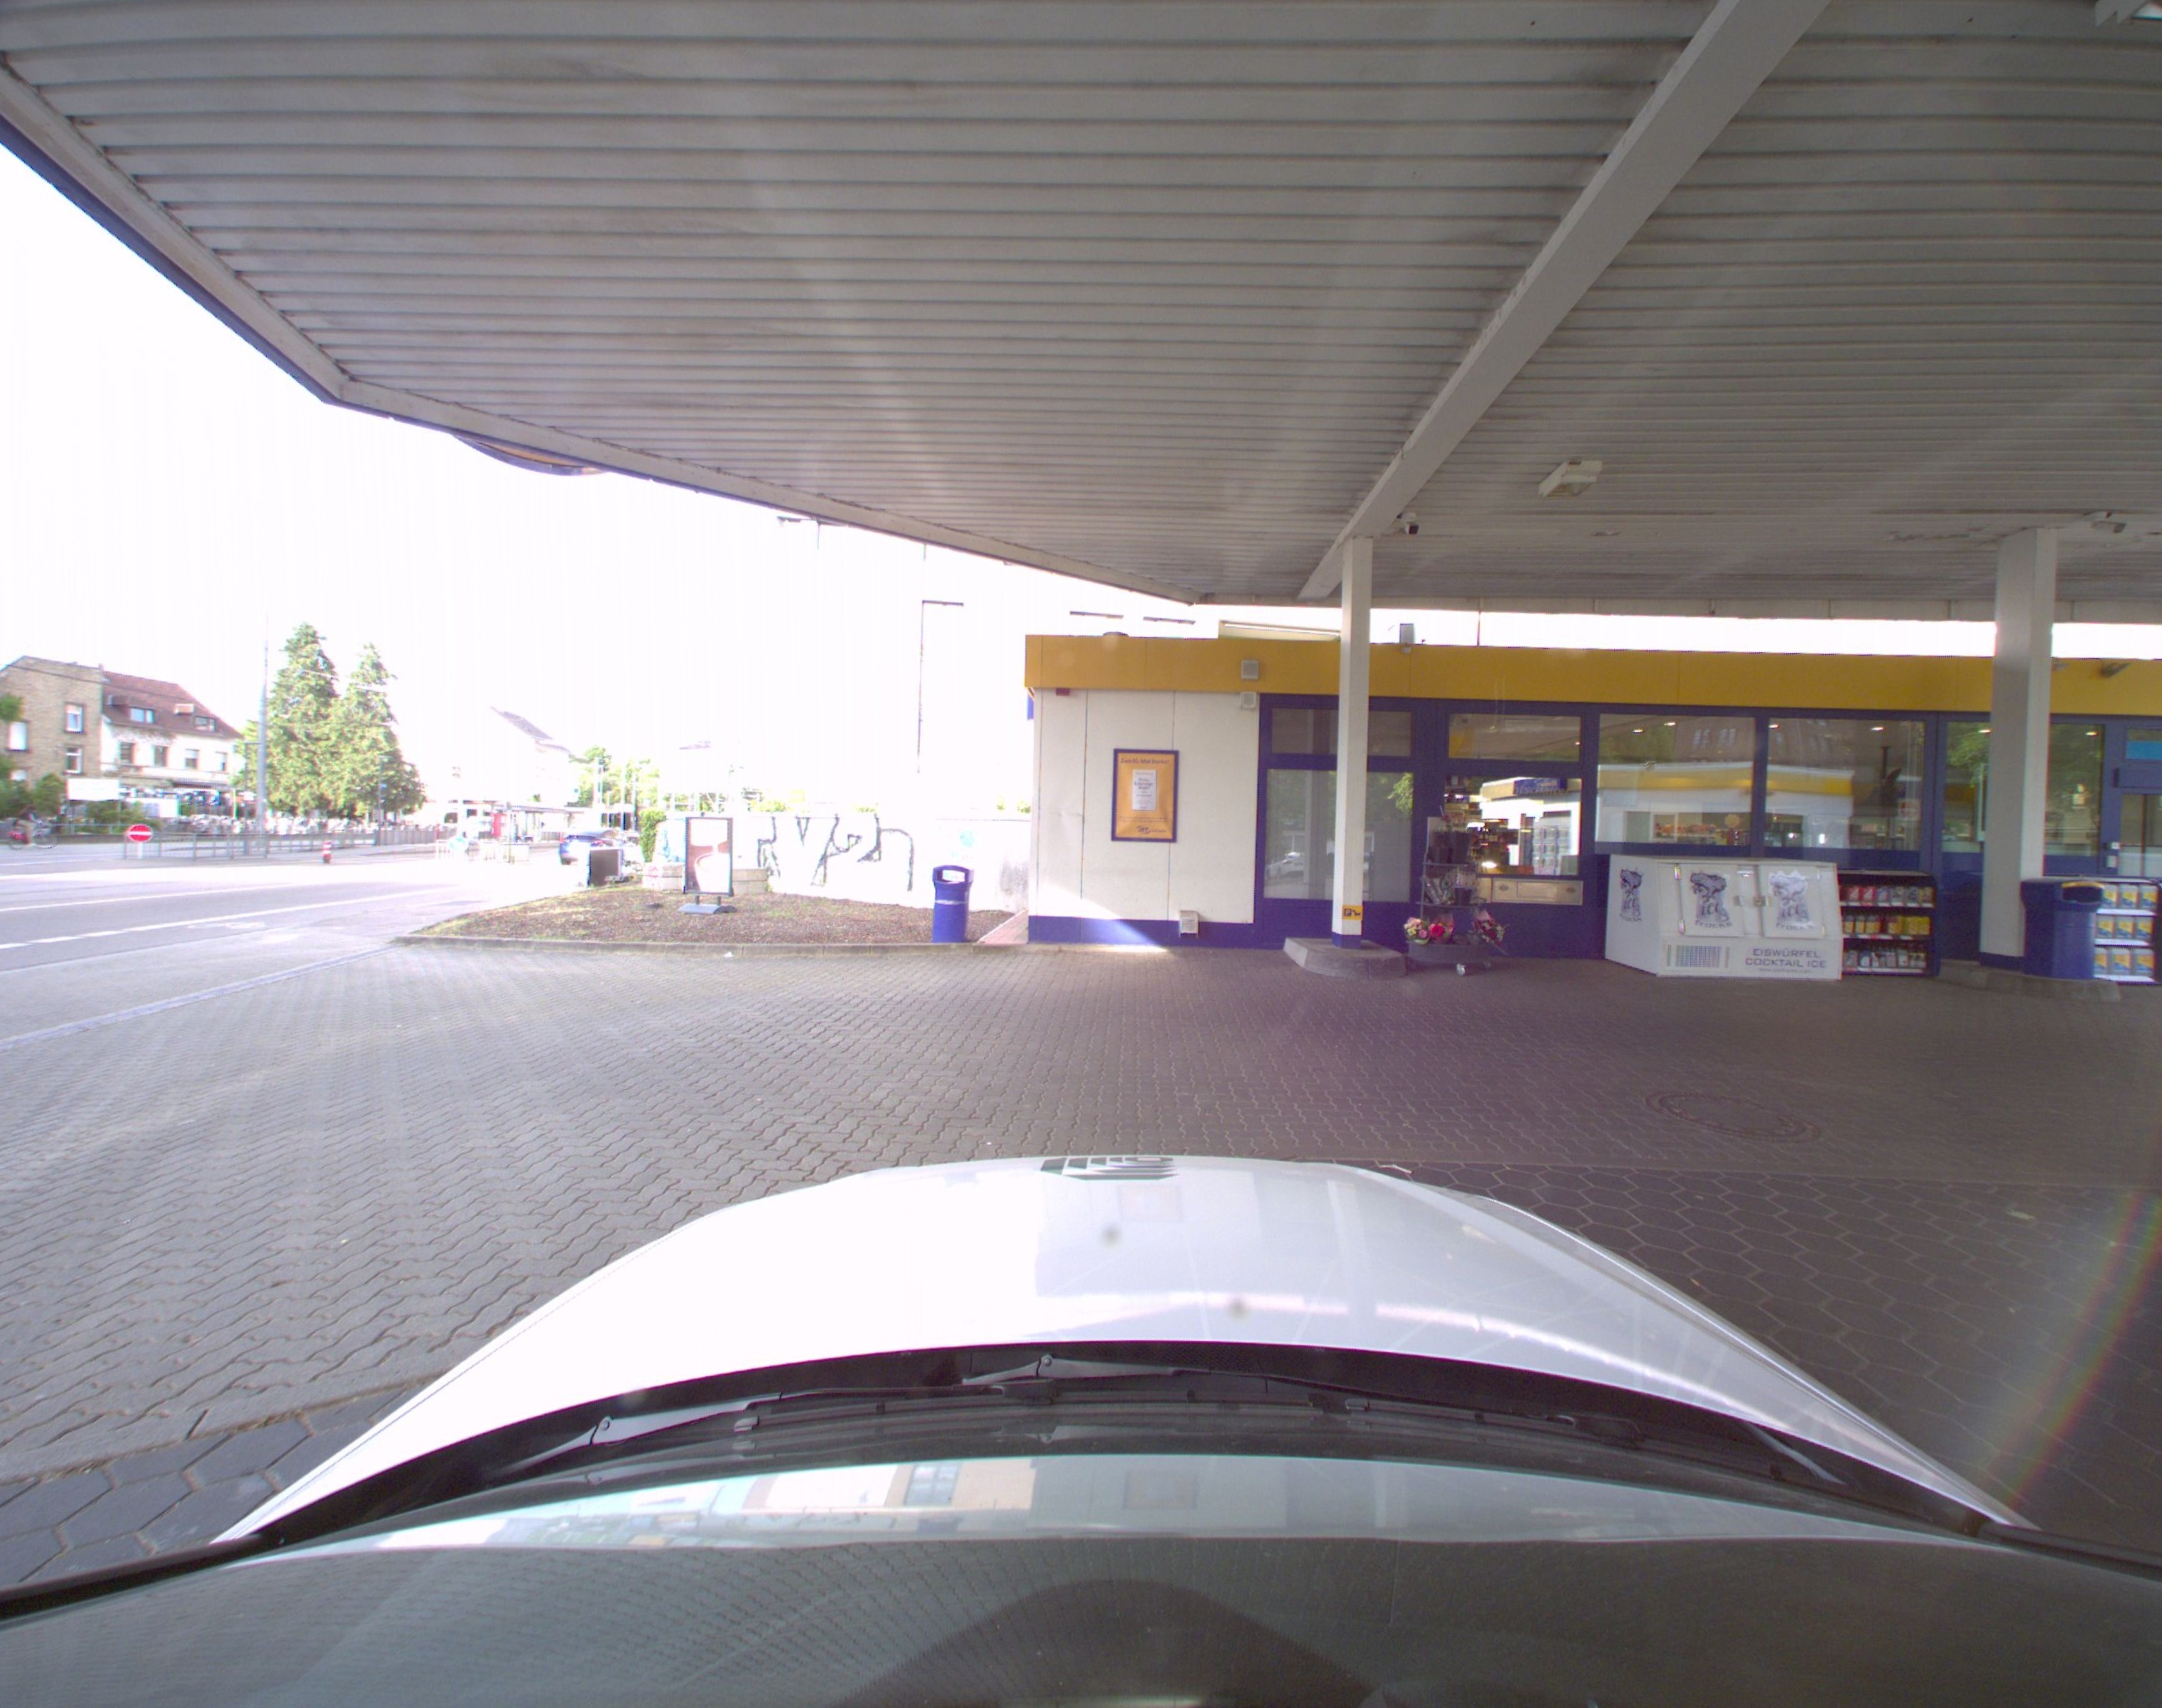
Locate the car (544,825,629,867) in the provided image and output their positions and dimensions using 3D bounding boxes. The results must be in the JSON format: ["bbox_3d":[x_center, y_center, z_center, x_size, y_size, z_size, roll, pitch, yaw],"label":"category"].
[{"bbox_3d":[-21.544,-0.365,35.713,1.767,1.657,4.828,2,0,-14],"label":"car"}]

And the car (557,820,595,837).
[{"bbox_3d":[-48.496,-2.444,78.325,1.837,1.576,4.362,0,2,-14],"label":"car"}]

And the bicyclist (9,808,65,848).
[{"bbox_3d":[-41.255,-1.031,32.193,0.787,1.492,1.091,4,0,-13],"label":"bicyclist"}]

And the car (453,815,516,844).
[{"bbox_3d":[-44.164,-1.817,60.420,1.996,1.968,4.867,1,2,-13],"label":"car"}]

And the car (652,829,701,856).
[{"bbox_3d":[-24.655,-0.717,49.788,1.767,1.543,4.111,2,0,-15],"label":"car"}]

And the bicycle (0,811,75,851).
[{"bbox_3d":[-41.274,-0.895,32.163,0.786,1.492,1.984,4,0,-12],"label":"bicycle"}]
